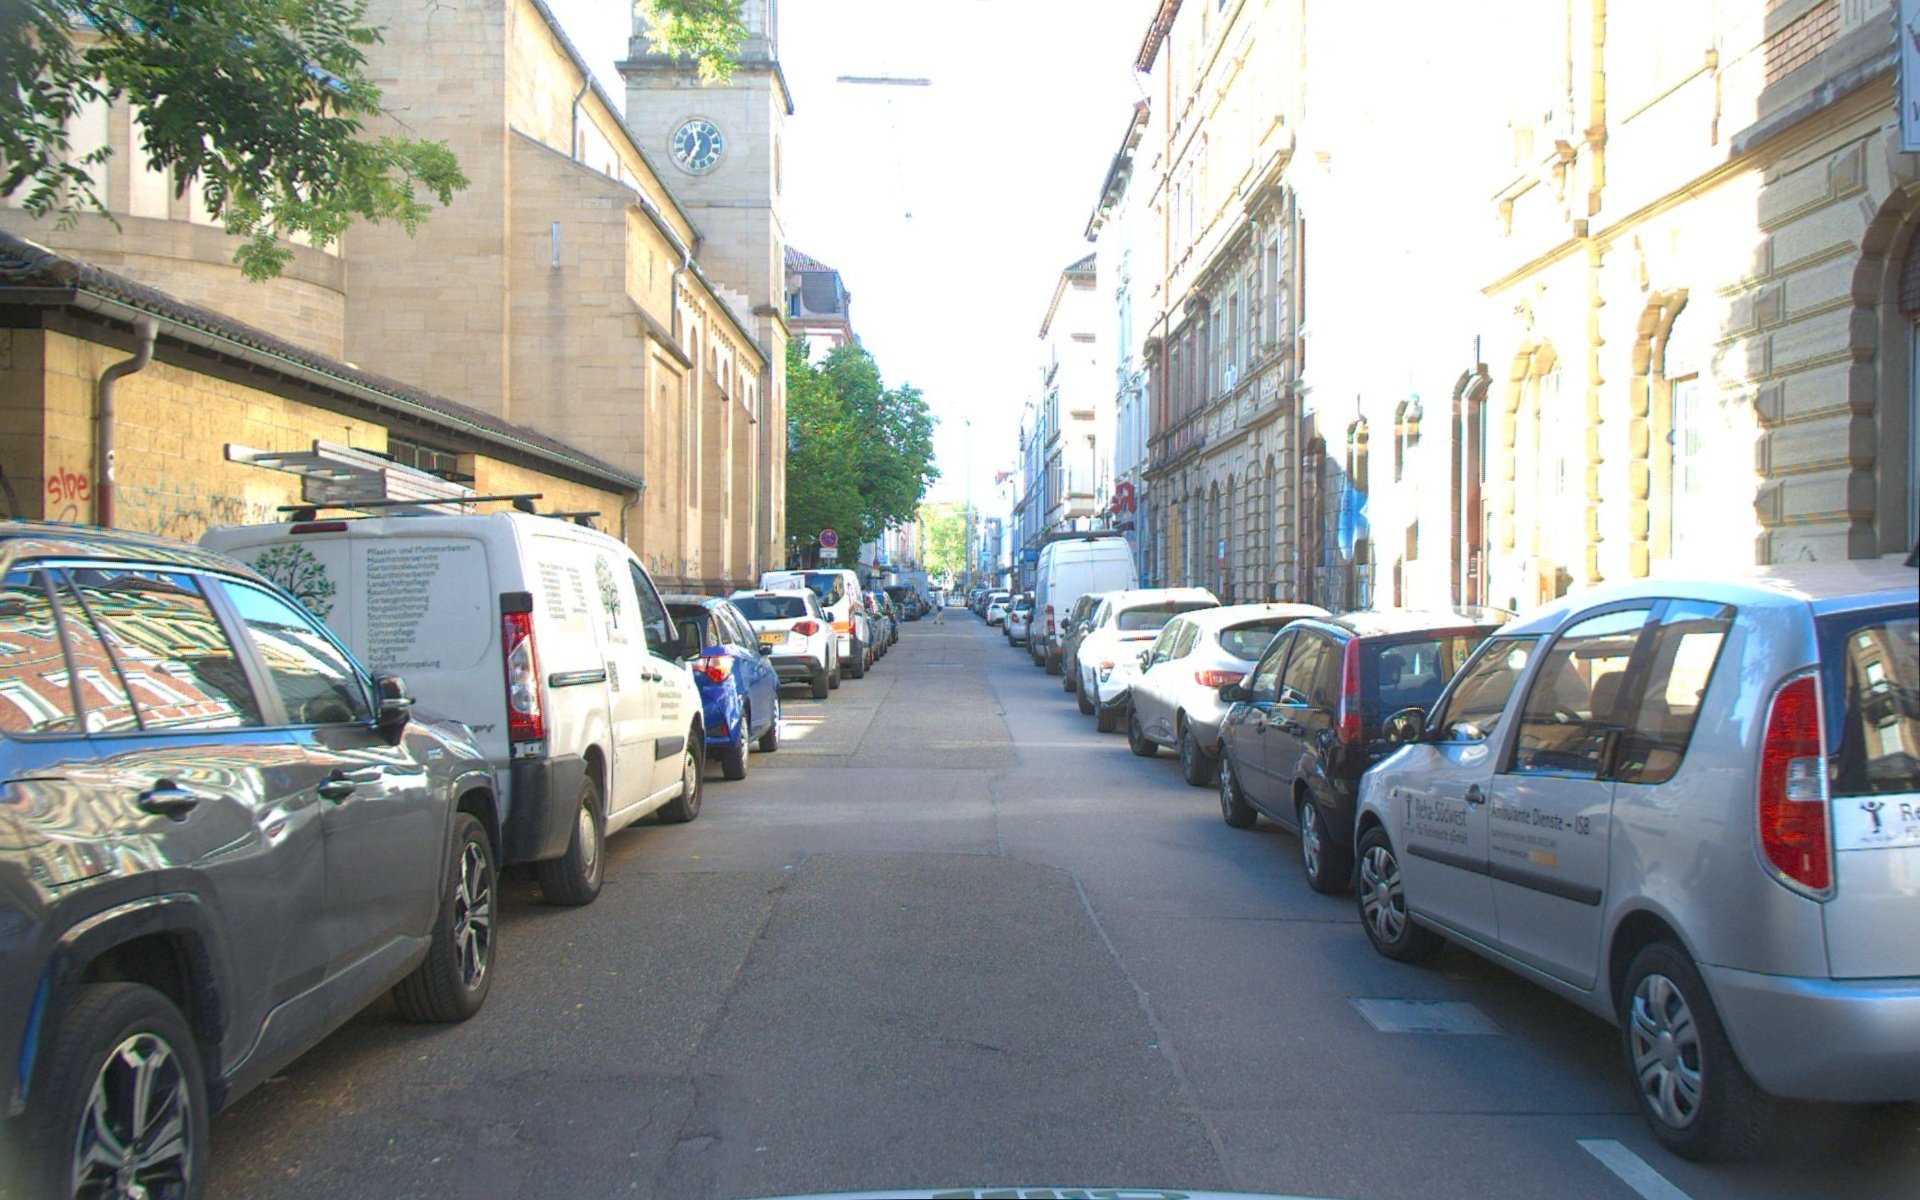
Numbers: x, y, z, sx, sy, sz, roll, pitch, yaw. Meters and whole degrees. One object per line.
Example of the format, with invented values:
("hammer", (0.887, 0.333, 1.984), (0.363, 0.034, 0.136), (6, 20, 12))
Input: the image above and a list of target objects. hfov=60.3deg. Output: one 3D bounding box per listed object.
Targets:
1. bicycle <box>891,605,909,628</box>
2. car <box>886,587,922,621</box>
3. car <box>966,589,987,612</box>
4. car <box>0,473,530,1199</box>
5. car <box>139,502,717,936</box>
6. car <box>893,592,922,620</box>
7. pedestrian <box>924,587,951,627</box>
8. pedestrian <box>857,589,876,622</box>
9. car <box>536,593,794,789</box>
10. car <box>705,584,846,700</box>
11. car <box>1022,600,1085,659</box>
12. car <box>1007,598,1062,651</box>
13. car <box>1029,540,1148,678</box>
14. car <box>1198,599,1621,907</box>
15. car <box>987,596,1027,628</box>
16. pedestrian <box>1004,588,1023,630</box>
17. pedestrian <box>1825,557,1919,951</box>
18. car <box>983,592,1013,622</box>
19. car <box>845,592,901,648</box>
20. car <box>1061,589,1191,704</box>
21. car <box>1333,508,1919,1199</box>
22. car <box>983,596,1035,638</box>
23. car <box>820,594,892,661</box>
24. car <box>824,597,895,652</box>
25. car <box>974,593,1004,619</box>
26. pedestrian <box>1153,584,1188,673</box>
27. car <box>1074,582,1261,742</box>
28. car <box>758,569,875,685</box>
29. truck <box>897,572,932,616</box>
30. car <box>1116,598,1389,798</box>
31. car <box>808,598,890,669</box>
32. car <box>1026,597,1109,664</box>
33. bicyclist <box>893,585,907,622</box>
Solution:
("bicycle", (-2.805, 0.781, 77.470), (0.724, 1.062, 1.859), (0, 0, 0))
("car", (-3.064, 0.221, 91.551), (1.837, 1.828, 4.000), (0, 0, 0))
("car", (1.577, 0.041, 156.073), (1.953, 2.049, 4.000), (0, 0, 0))
("car", (-2.472, 0.621, 4.369), (1.705, 1.675, 4.287), (0, 0, -2))
("car", (-2.662, 0.500, 9.485), (1.807, 1.895, 4.465), (0, 0, 1))
("car", (-3.581, 0.410, 113.349), (1.837, 1.828, 4.000), (0, 0, 0))
("pedestrian", (-1.069, 0.347, 78.396), (0.998, 1.875, 0.777), (1, 0, -30))
("pedestrian", (-4.814, 0.263, 85.009), (0.910, 1.666, 0.806), (0, 0, 1))
("car", (-2.526, 0.711, 15.010), (1.653, 1.502, 3.860), (-1, 0, -1))
("car", (-2.752, 0.590, 25.433), (1.706, 1.614, 3.868), (1, 0, 0))
("car", (2.590, 0.783, 46.336), (1.537, 1.521, 3.653), (2, 0, 1))
("car", (2.267, 0.719, 51.094), (1.570, 1.531, 4.000), (2, 0, 1))
("car", (2.624, 0.161, 35.232), (2.026, 2.656, 5.887), (1, 0, 0))
("car", (2.558, 0.773, 10.254), (1.504, 1.539, 3.680), (0, 0, -2))
("car", (2.239, 0.559, 79.596), (1.858, 1.514, 3.869), (0, 0, 0))
("pedestrian", (2.394, 0.412, 74.517), (0.669, 1.875, 0.692), (1, 0, -12))
("pedestrian", (4.241, 0.628, 7.172), (0.579, 1.632, 0.727), (-1, 0, -2))
("car", (2.294, 0.409, 100.132), (1.733, 1.771, 4.000), (0, 0, 0))
("car", (-2.721, 0.609, 52.287), (1.567, 1.642, 3.807), (-2, 0, -1))
("car", (2.570, 0.676, 26.359), (1.653, 1.671, 3.924), (1, 0, 0))
("car", (2.678, 0.642, 5.917), (1.669, 1.744, 3.936), (0, 0, -2))
("car", (1.828, 0.630, 62.563), (1.682, 1.514, 3.867), (0, 0, -3))
("car", (-2.599, 0.660, 42.004), (1.639, 1.586, 3.999), (0, 0, -1))
("car", (-2.796, 0.657, 46.722), (1.537, 1.422, 3.809), (-3, 0, 2))
("car", (1.966, 0.373, 113.332), (1.953, 1.660, 4.000), (3, 0, 0))
("pedestrian", (4.362, 0.591, 34.282), (0.626, 1.803, 0.679), (2, -1, 4))
("car", (2.476, 0.705, 20.671), (1.771, 1.719, 4.214), (2, 0, 0))
("car", (-2.635, 0.462, 31.276), (1.826, 1.991, 4.609), (-1, 0, -1))
("truck", (-3.554, -0.433, 129.894), (2.480, 3.339, 6.994), (0, 0, 0))
("car", (2.569, 0.798, 15.405), (1.541, 1.551, 3.905), (3, 0, -4))
("car", (-2.480, 0.722, 37.795), (1.582, 1.477, 3.950), (-1, 0, 0))
("car", (2.632, 0.724, 41.405), (1.743, 1.512, 4.360), (2, 0, 0))
("bicyclist", (-2.804, 0.153, 77.485), (0.592, 1.717, 0.885), (0, 0, 0))
